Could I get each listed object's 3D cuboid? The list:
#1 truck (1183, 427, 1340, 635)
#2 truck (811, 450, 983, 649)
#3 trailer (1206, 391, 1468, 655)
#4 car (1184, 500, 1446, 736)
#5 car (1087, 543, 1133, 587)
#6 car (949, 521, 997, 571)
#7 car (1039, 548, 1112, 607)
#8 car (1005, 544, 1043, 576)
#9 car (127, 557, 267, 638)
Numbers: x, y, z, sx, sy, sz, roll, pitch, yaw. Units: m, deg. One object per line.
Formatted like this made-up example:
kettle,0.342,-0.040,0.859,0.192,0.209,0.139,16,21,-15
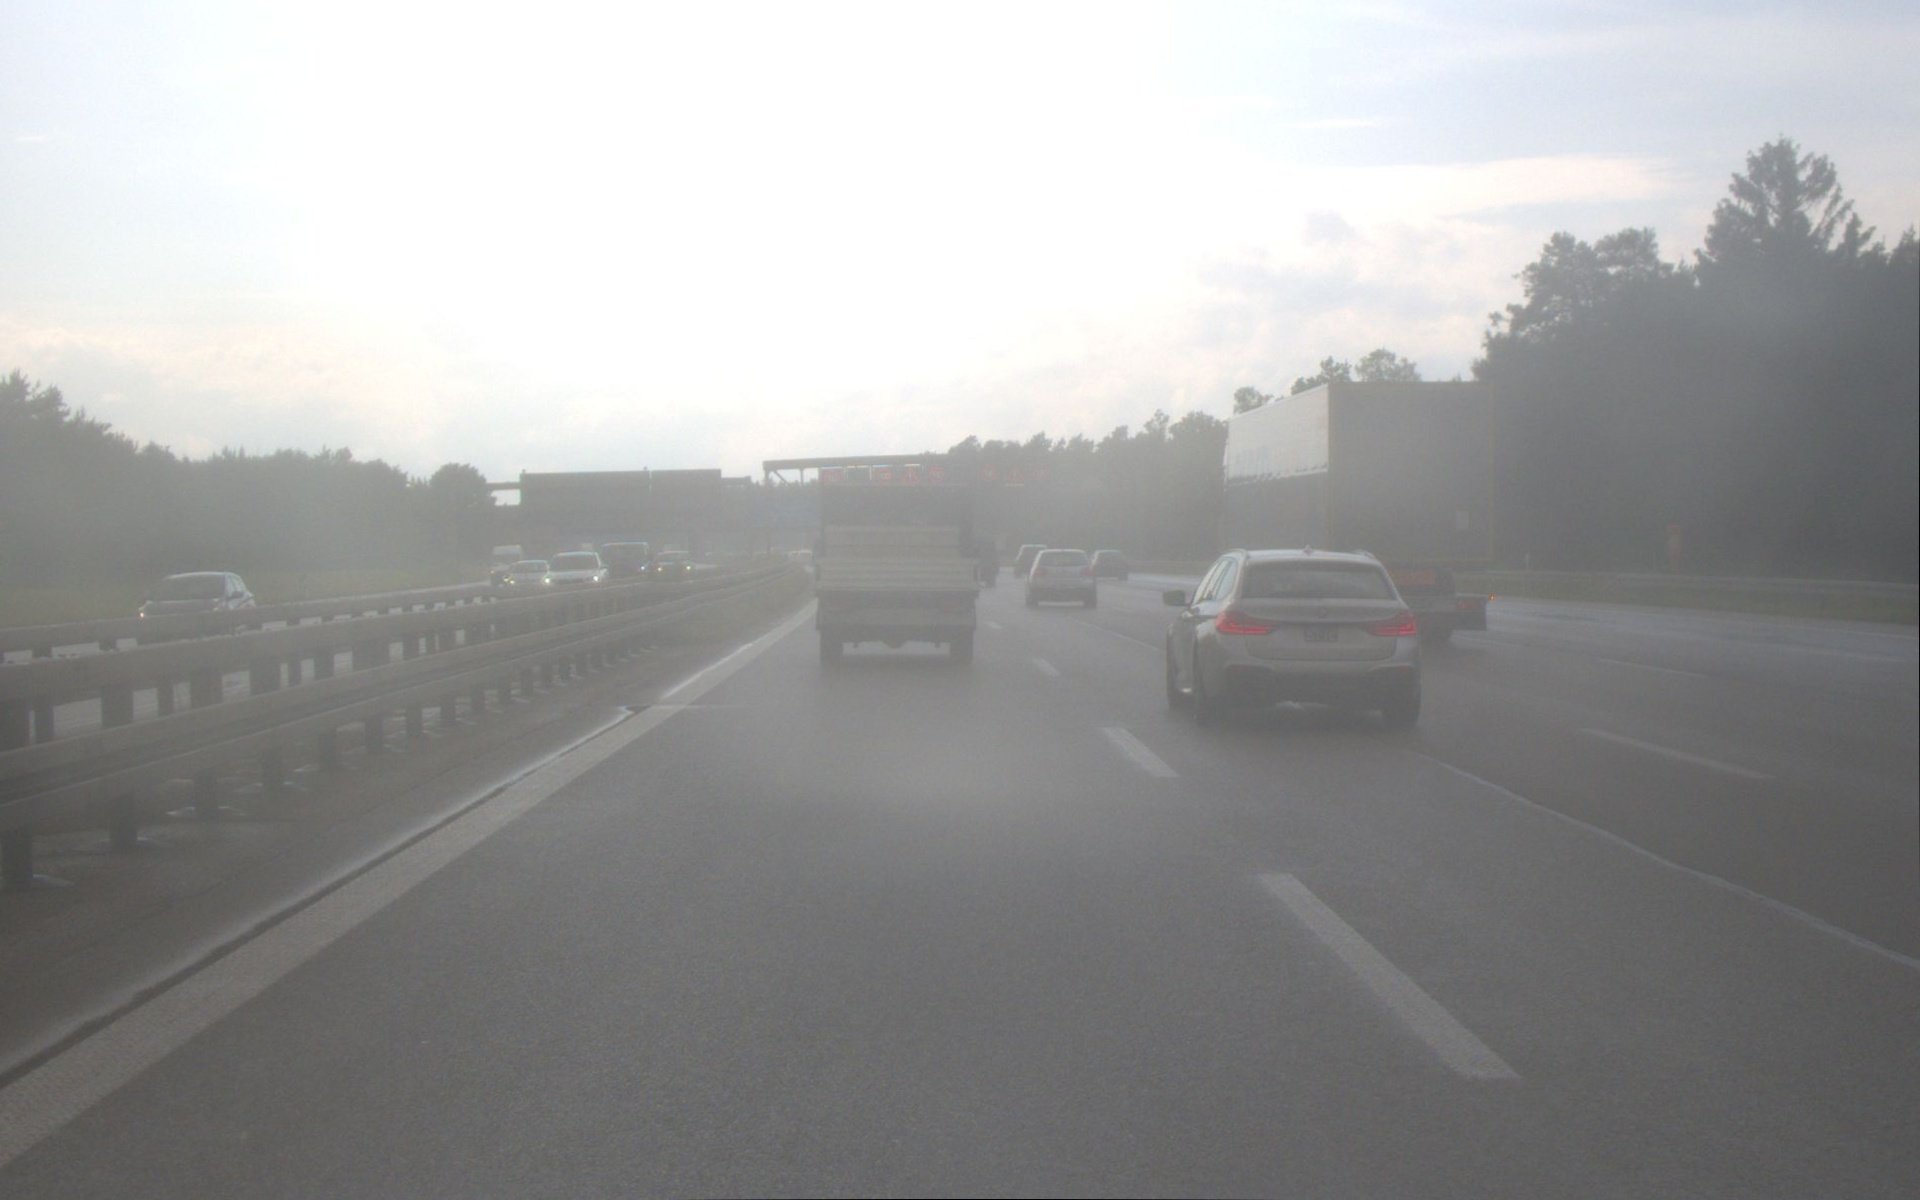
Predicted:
truck,5.777,-1.316,66.502,2.293,3.854,5.393,0,1,-3
truck,-0.810,-0.682,45.419,2.137,2.480,5.313,0,1,0
trailer,6.188,-1.270,58.719,2.323,3.988,13.414,0,1,-3
car,3.023,0.092,30.039,2.078,1.878,5.011,0,1,4
car,7.094,-1.686,162.856,1.993,2.007,4.000,1,1,0
car,0.533,-2.197,139.559,1.908,2.007,4.000,0,1,0
car,2.969,-0.594,88.981,1.831,1.461,4.000,0,1,1
car,3.442,-2.172,184.729,1.740,1.683,4.001,0,1,-3
car,-14.876,-0.076,67.232,1.811,1.417,4.237,-3,1,-1
